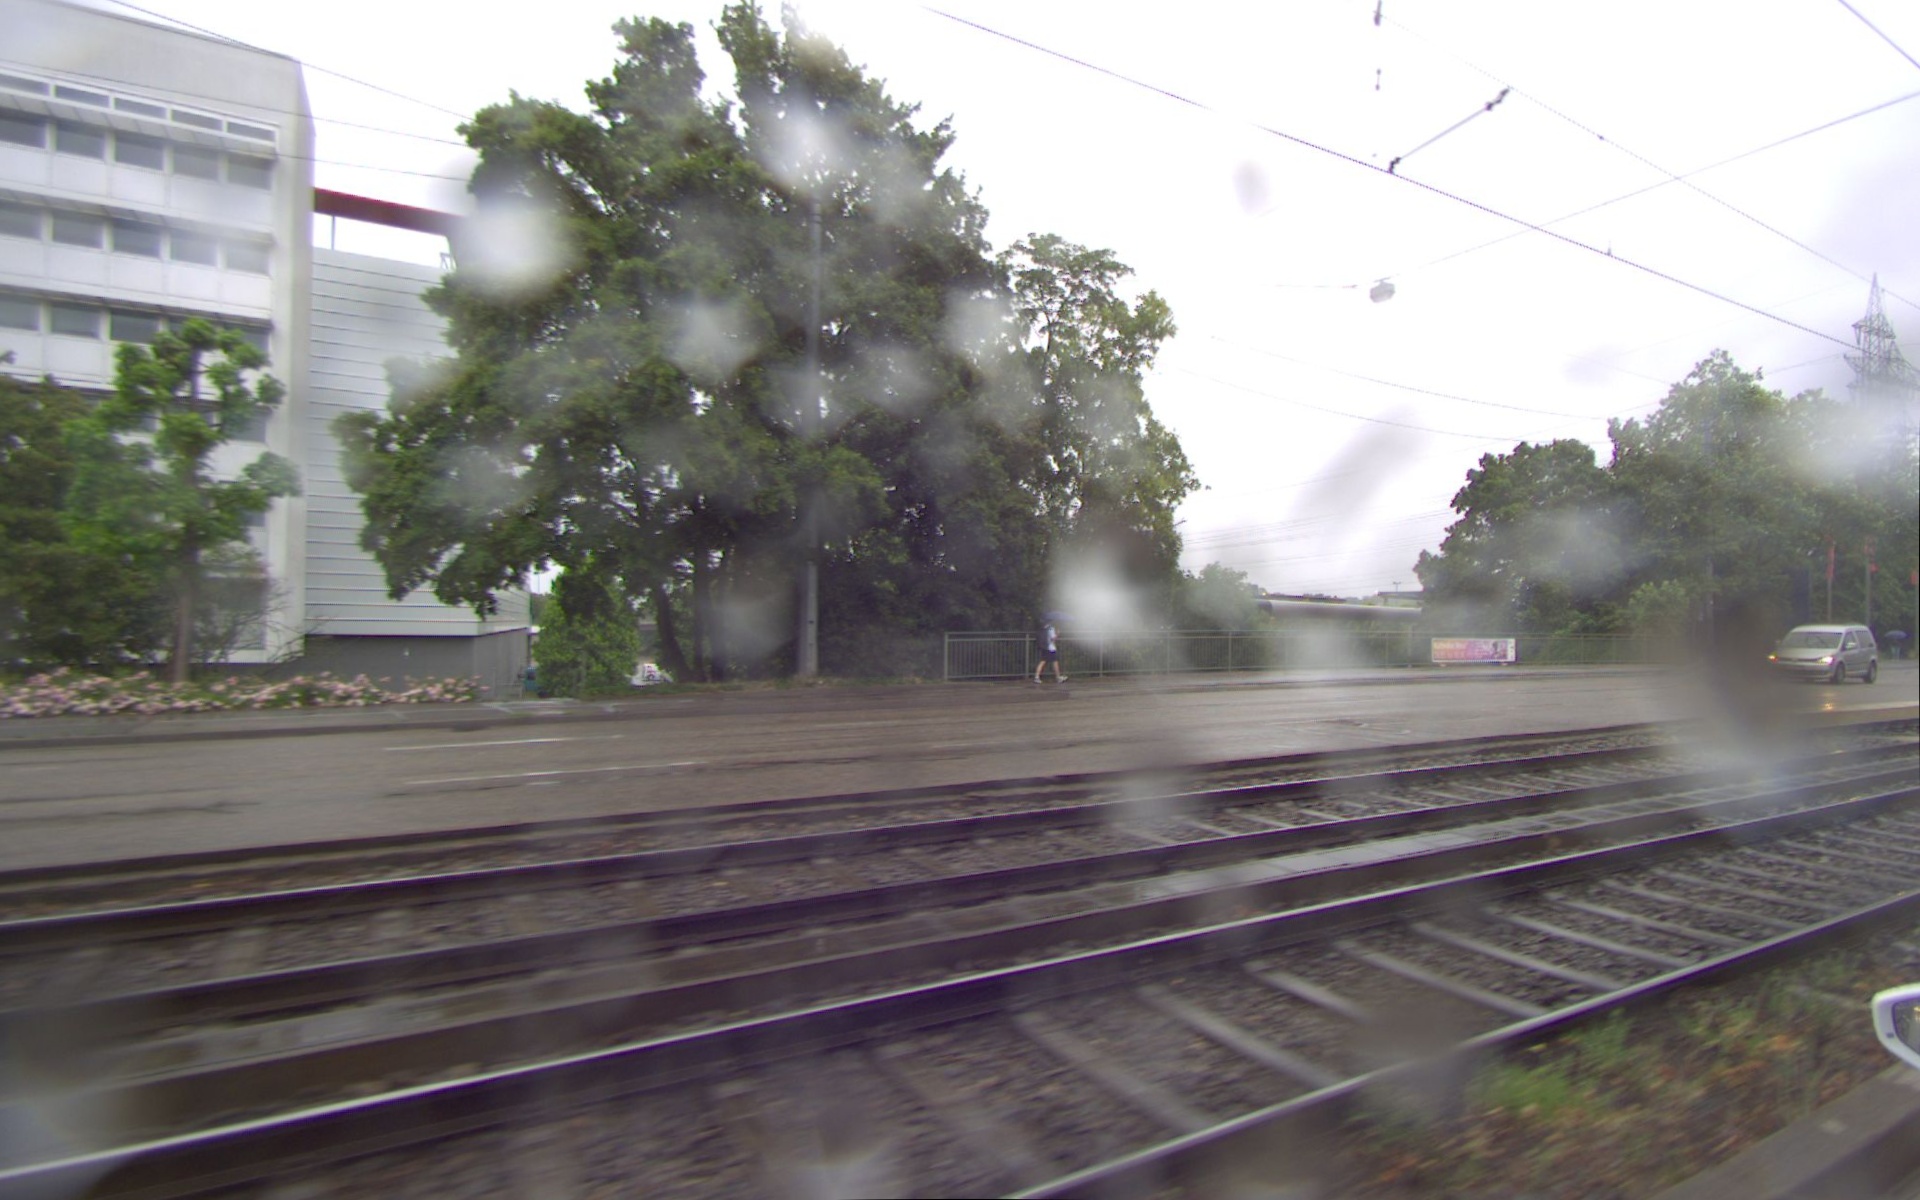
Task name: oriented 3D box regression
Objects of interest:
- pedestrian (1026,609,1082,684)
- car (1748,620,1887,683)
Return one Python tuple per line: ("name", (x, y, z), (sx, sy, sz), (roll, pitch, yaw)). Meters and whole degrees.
("pedestrian", (2.308, 1.133, 24.689), (1.108, 1.782, 0.847), (1, -1, -30))
("car", (26.742, 1.558, 31.299), (4.606, 1.840, 1.983), (1, -1, -31))
